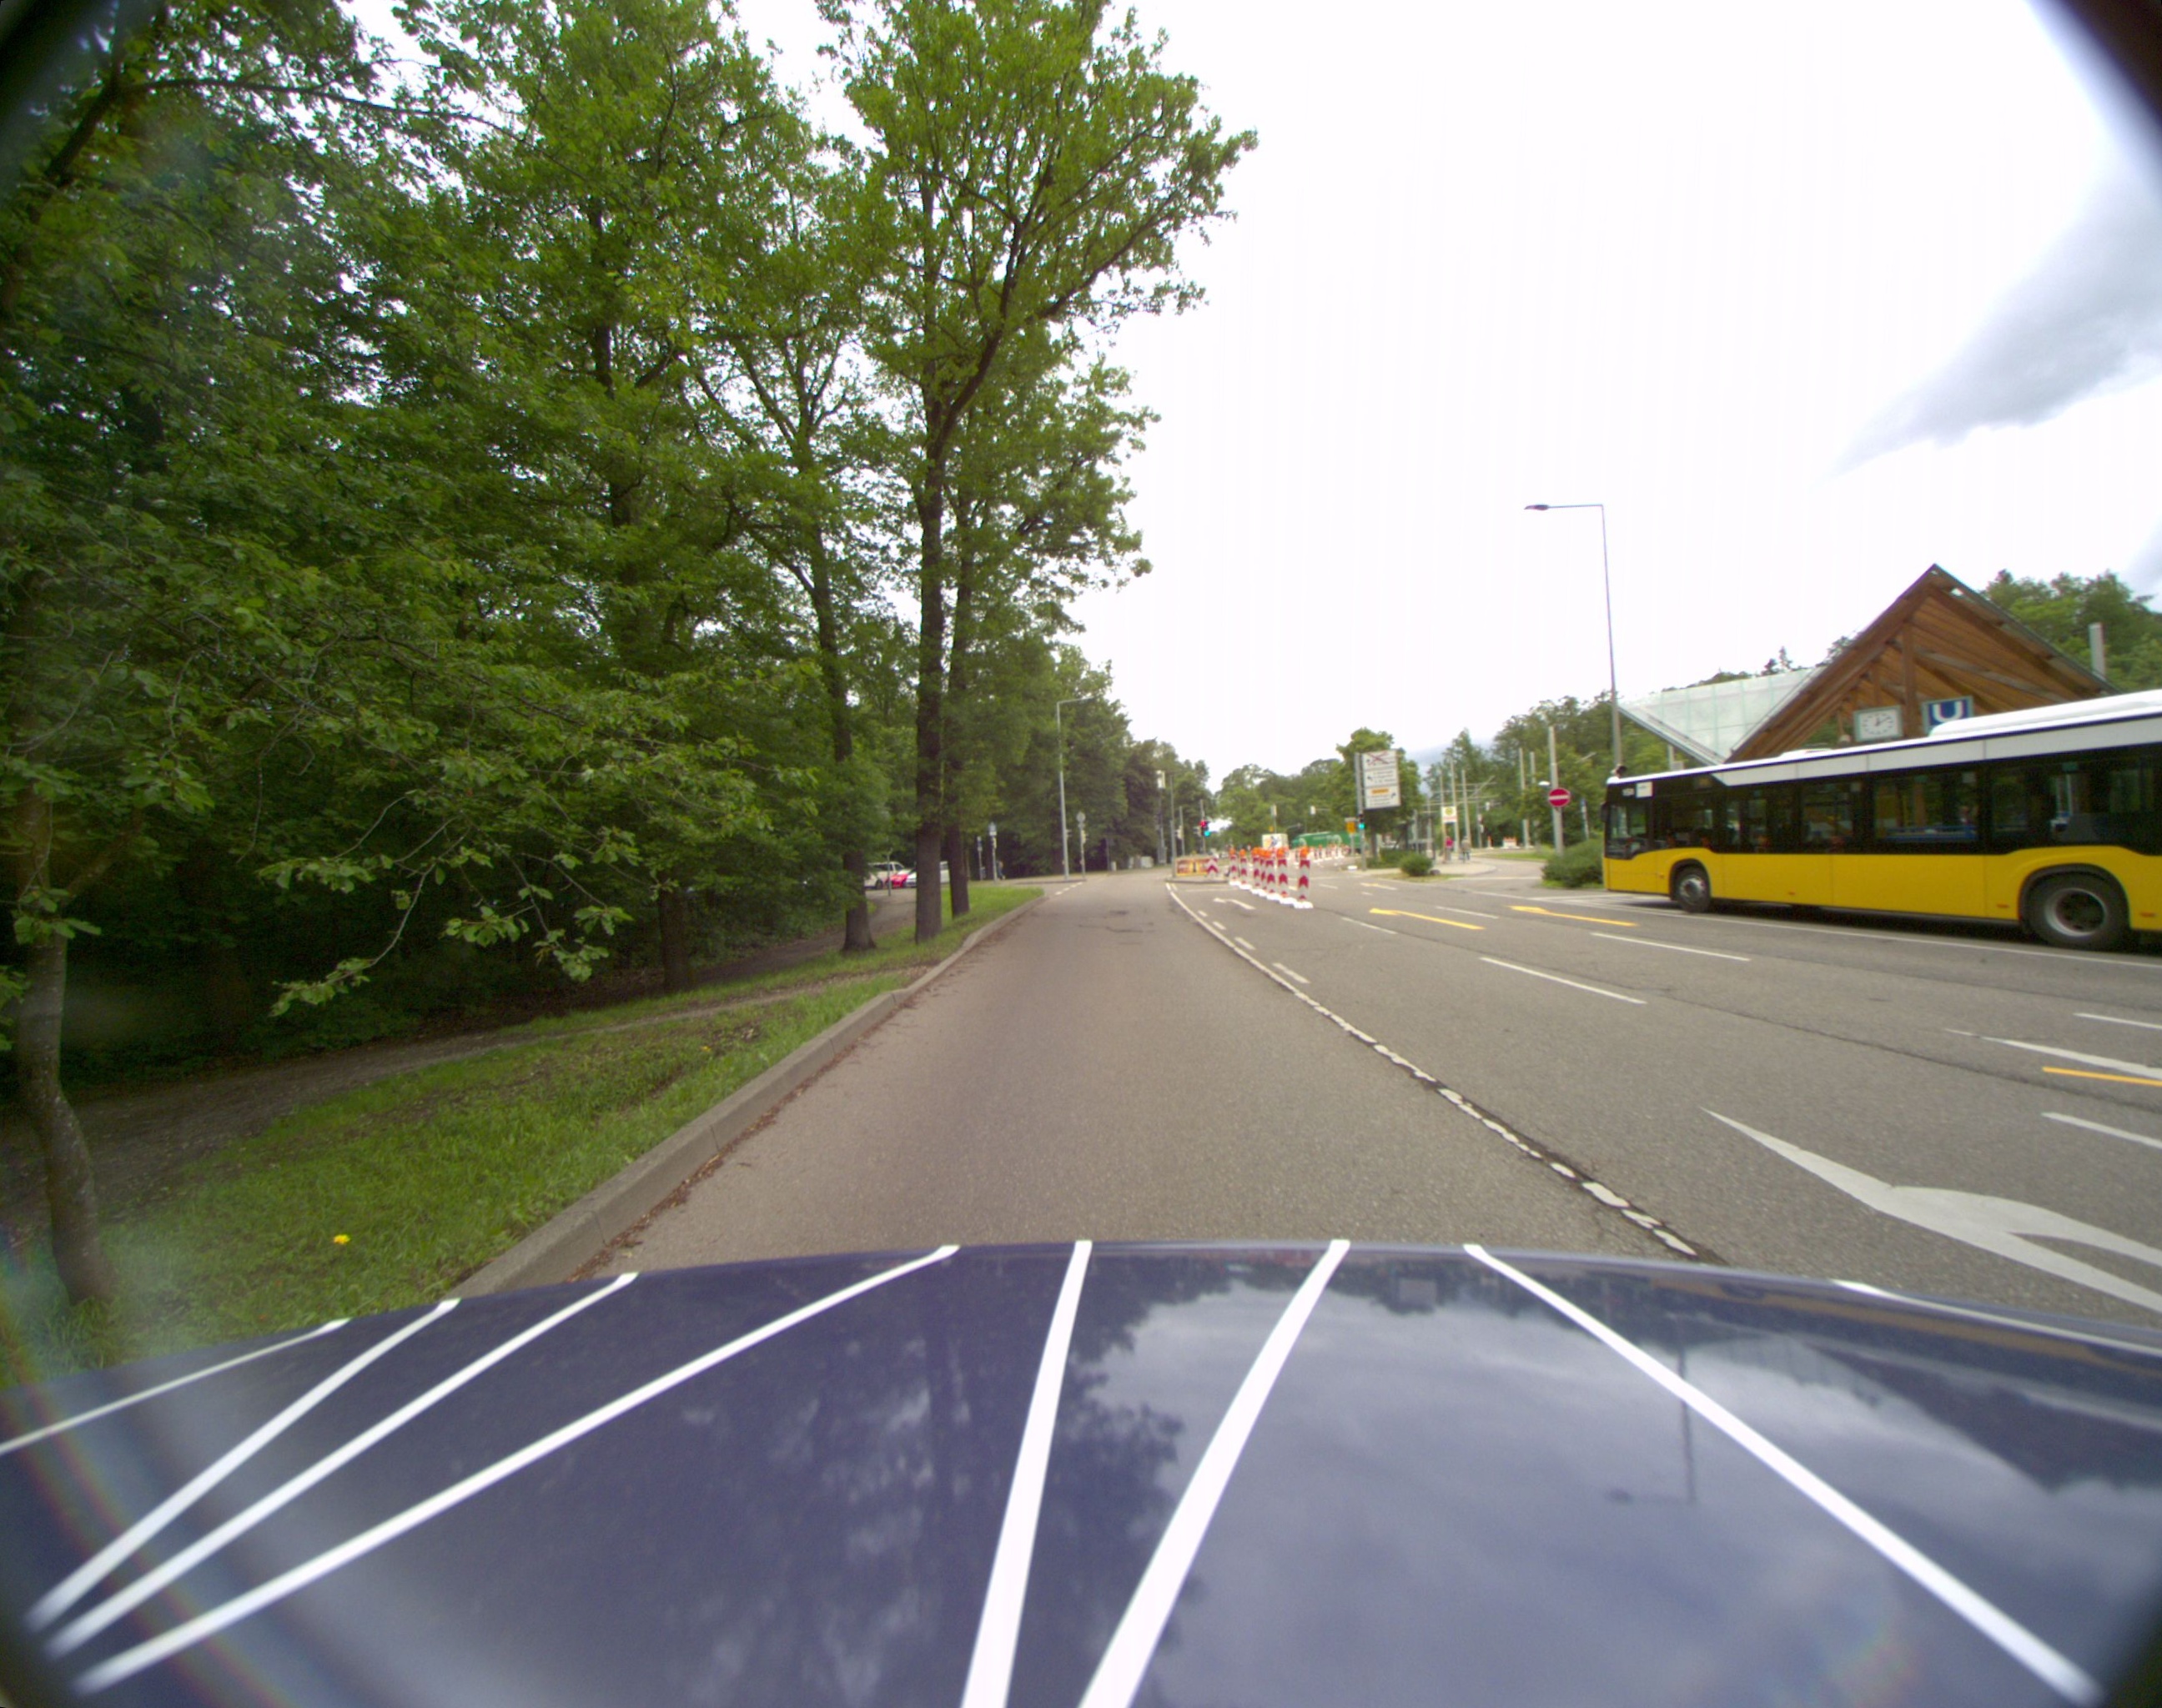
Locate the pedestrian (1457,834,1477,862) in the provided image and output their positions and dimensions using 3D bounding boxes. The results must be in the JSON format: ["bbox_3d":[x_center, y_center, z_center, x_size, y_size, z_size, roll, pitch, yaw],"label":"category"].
[{"bbox_3d":[22.390,-0.355,44.088,0.873,1.516,0.769,-4,0,32],"label":"pedestrian"}]

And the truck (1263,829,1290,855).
[{"bbox_3d":[24.943,-1.543,97.008,2.631,3.219,6.215,-1,1,20],"label":"truck"}]

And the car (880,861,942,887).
[{"bbox_3d":[-12.148,1.403,54.490,1.890,1.543,4.007,-4,0,35],"label":"car"}]

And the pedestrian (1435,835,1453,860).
[{"bbox_3d":[23.814,-0.433,49.819,0.791,1.542,0.776,-4,0,12],"label":"pedestrian"}]

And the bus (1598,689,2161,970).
[{"bbox_3d":[13.486,-0.344,12.853,2.906,3.109,9.759,-2,0,1],"label":"bus"}]

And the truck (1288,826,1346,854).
[{"bbox_3d":[38.324,-2.302,123.830,3.793,3.858,8.756,-4,0,-27],"label":"truck"}]

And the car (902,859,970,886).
[{"bbox_3d":[-10.055,1.277,53.023,1.995,1.543,4.429,-4,-1,35],"label":"car"}]

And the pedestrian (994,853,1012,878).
[{"bbox_3d":[-5.494,0.785,53.314,1.094,1.666,0.910,-3,1,-13],"label":"pedestrian"}]

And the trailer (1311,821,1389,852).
[{"bbox_3d":[41.429,-2.585,117.672,3.793,3.858,11.847,-4,0,-27],"label":"trailer"}]

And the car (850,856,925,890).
[{"bbox_3d":[-14.207,1.360,56.083,2.058,1.946,5.191,-4,1,32],"label":"car"}]

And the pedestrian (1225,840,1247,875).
[{"bbox_3d":[8.444,0.183,41.486,0.993,1.798,0.766,-4,0,5],"label":"pedestrian"}]

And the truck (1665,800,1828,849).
[{"bbox_3d":[36.717,-1.543,42.220,2.609,2.157,6.295,-4,0,-17],"label":"truck"}]
